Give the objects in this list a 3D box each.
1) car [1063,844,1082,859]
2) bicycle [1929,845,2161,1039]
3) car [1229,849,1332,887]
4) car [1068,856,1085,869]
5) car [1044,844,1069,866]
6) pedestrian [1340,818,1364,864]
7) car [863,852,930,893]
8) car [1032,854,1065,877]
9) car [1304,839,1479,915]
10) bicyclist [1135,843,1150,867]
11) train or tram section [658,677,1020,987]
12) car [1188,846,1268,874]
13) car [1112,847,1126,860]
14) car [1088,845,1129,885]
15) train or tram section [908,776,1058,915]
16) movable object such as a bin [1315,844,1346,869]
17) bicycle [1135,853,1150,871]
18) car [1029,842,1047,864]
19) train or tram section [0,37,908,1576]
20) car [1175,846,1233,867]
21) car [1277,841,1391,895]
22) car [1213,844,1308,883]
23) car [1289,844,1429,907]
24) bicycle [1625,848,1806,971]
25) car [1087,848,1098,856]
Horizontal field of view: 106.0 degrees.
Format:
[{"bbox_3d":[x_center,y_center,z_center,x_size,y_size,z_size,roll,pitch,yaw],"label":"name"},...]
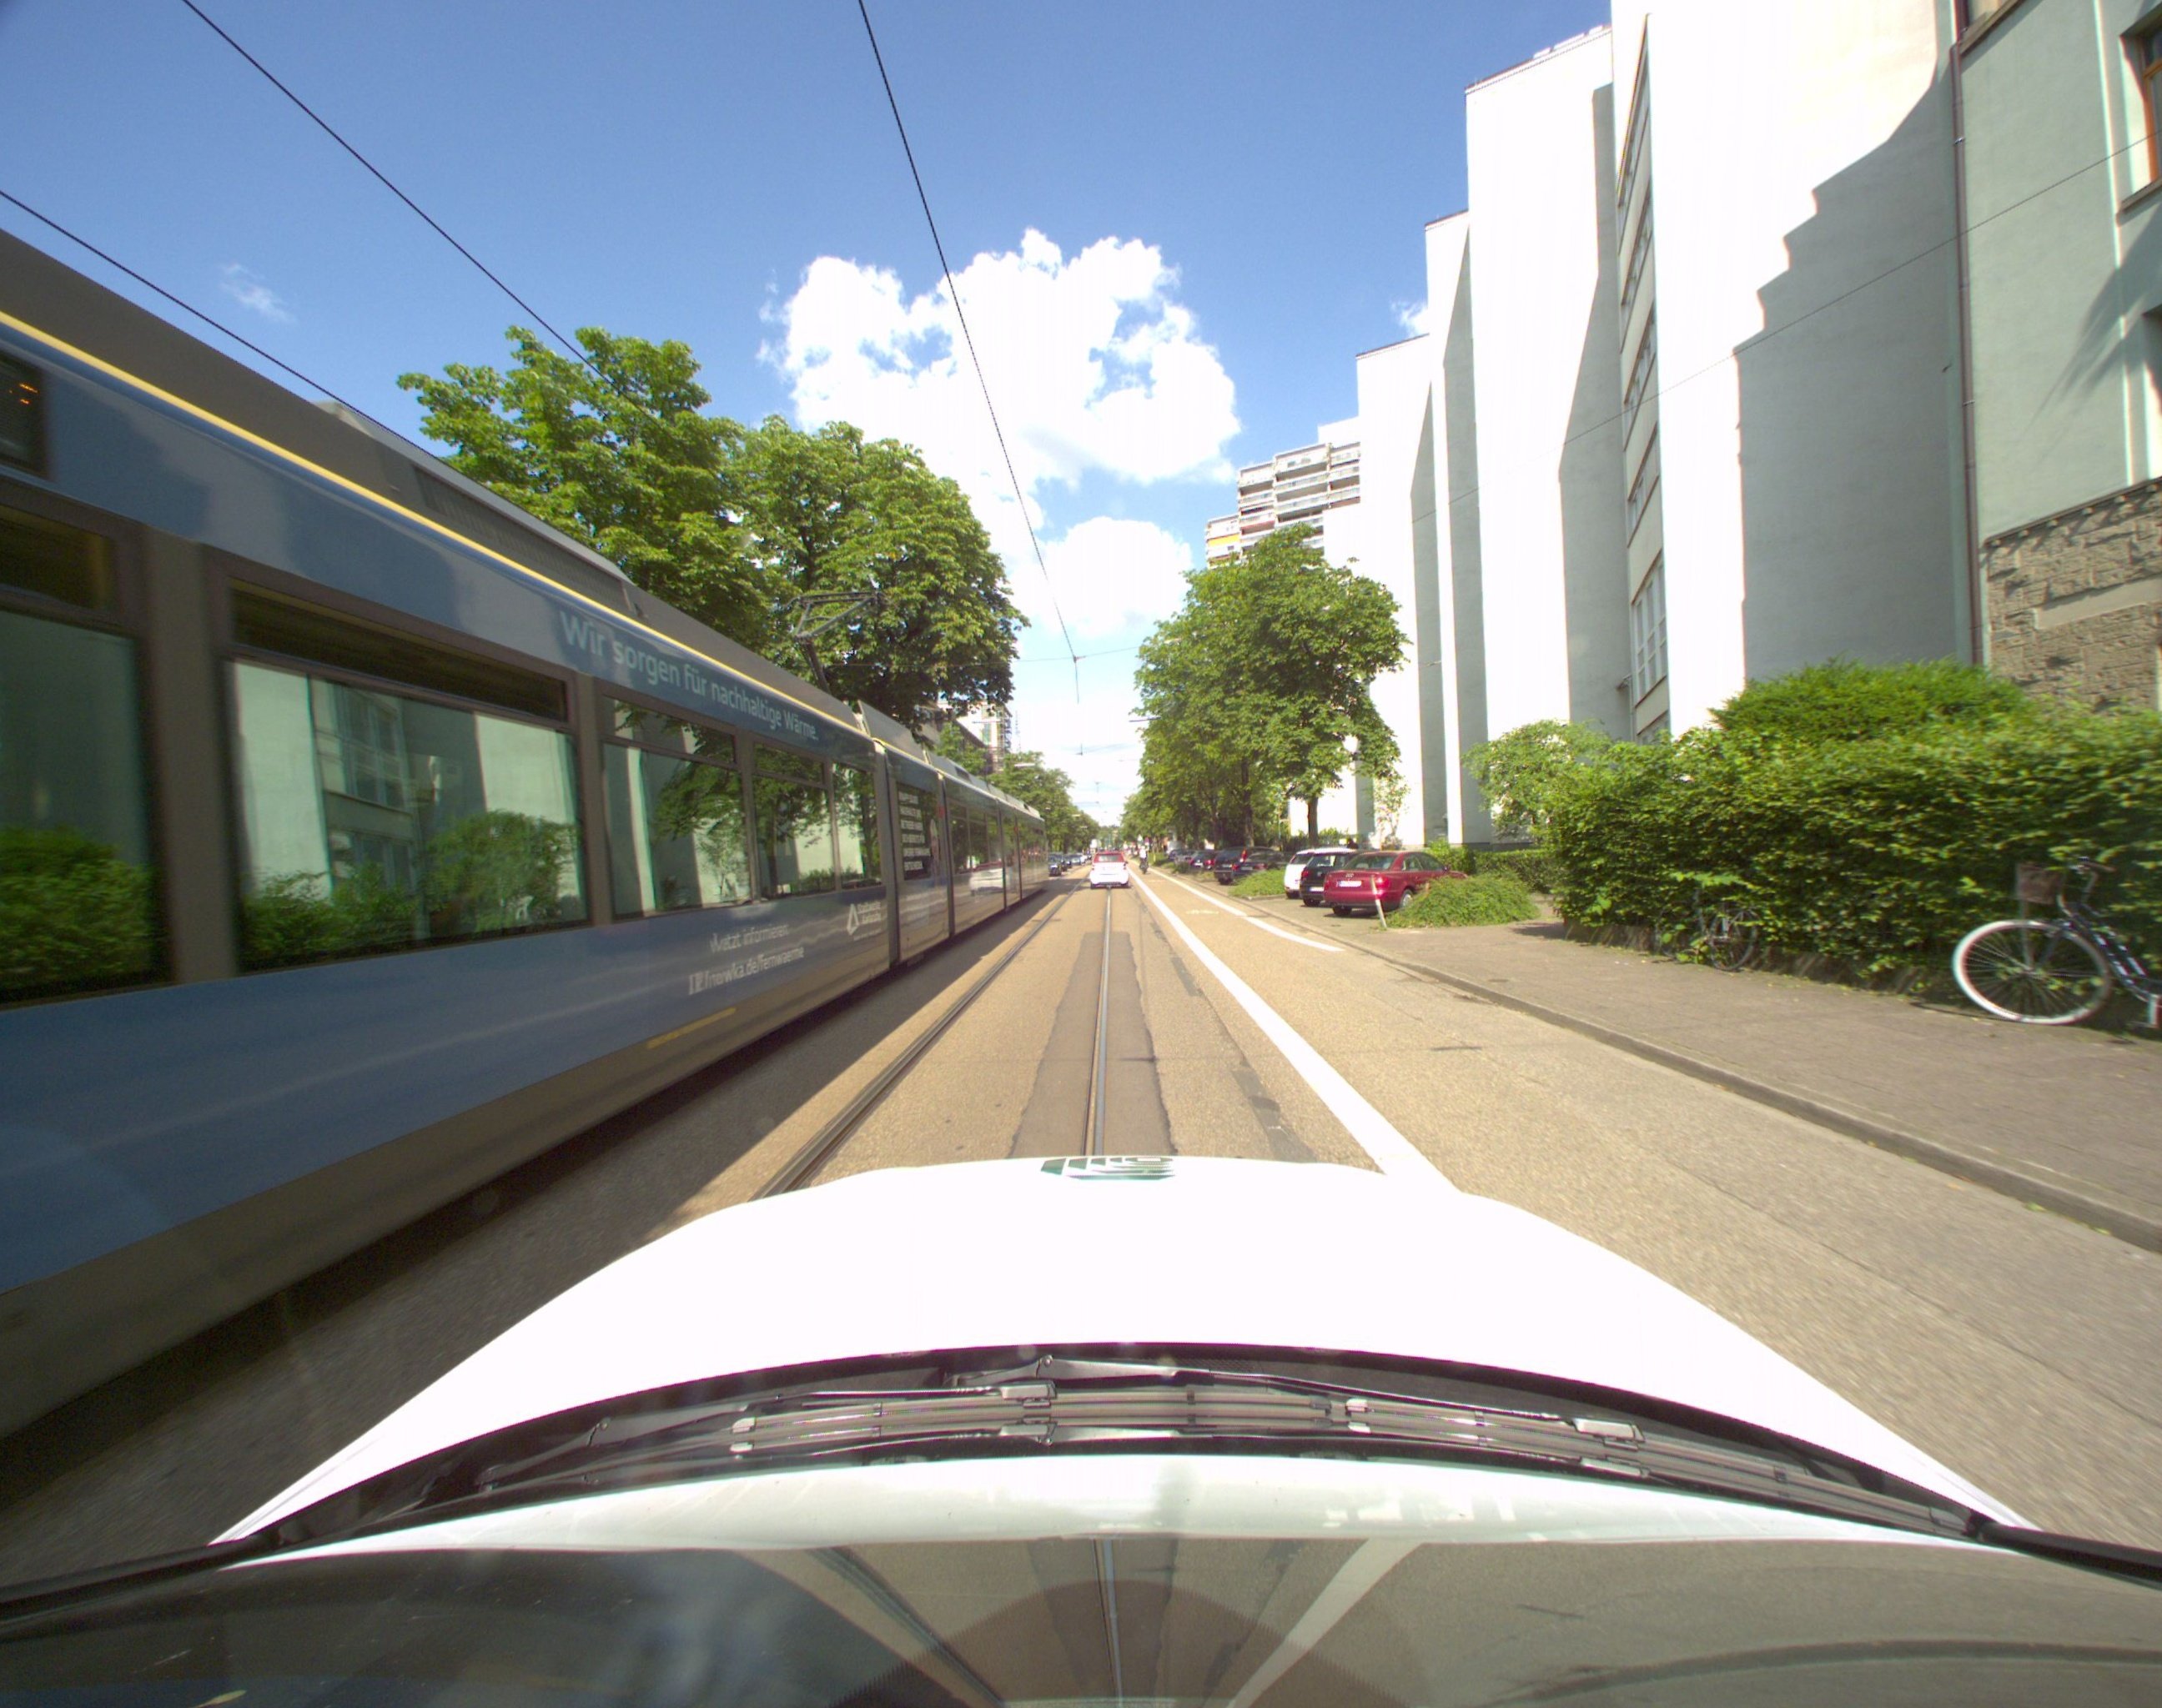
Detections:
[{"bbox_3d":[-0.870,-0.196,81.704,1.717,1.376,4.001,-3,0,1],"label":"car"},{"bbox_3d":[6.387,0.510,4.975,0.278,1.109,2.012,-5,0,2],"label":"bicycle"},{"bbox_3d":[7.776,0.487,31.517,4.199,1.349,1.882,-1,0,-43],"label":"car"},{"bbox_3d":[-0.557,1.015,97.495,1.767,1.416,3.853,-4,0,1],"label":"car"},{"bbox_3d":[-2.000,0.104,67.253,1.819,1.727,4.392,0,0,1],"label":"car"},{"bbox_3d":[11.432,-0.552,34.392,0.756,1.873,1.004,-2,0,8],"label":"pedestrian"},{"bbox_3d":[-7.950,0.764,35.461,1.744,1.665,4.722,0,0,1],"label":"car"},{"bbox_3d":[-2.131,0.725,54.351,1.792,1.388,4.428,-2,0,2],"label":"car"},{"bbox_3d":[7.028,0.460,18.246,4.182,1.423,1.844,-3,0,-41],"label":"car"},{"bbox_3d":[4.024,0.049,52.859,0.885,1.528,1.087,0,0,8],"label":"bicyclist"},{"bbox_3d":[-3.213,-0.248,15.093,2.642,3.388,11.479,-4,0,2],"label":"train or tram section"},{"bbox_3d":[8.063,0.328,44.402,4.562,1.442,2.007,0,0,-44],"label":"car"},{"bbox_3d":[4.819,-0.087,102.443,1.659,1.624,3.622,-2,0,2],"label":"car"},{"bbox_3d":[1.171,0.418,34.843,1.659,1.624,3.623,0,1,2],"label":"car"},{"bbox_3d":[-2.700,-0.220,27.785,2.642,3.356,14.116,-4,0,2],"label":"train or tram section"},{"bbox_3d":[13.519,0.140,44.123,1.270,1.318,1.326,-1,0,2],"label":"movable object such as a bin"},{"bbox_3d":[3.987,0.503,52.647,0.870,1.126,2.141,0,0,8],"label":"bicycle"},{"bbox_3d":[-5.179,-0.131,98.299,1.762,2.639,5.325,0,0,2],"label":"car"},{"bbox_3d":[-3.663,-0.094,3.213,2.642,3.436,12.322,-4,0,2],"label":"train or tram section"},{"bbox_3d":[9.223,0.189,60.941,4.262,1.420,1.705,-2,1,-36],"label":"car"},{"bbox_3d":[7.770,0.382,24.797,4.023,1.461,1.517,-2,0,-44],"label":"car"},{"bbox_3d":[7.636,0.366,34.460,4.021,1.574,1.883,-1,0,-40],"label":"car"},{"bbox_3d":[7.371,0.514,21.414,4.021,1.448,1.679,-2,0,-41],"label":"car"},{"bbox_3d":[6.505,0.512,8.494,0.278,1.109,2.012,-5,0,2],"label":"bicycle"},{"bbox_3d":[2.169,-0.376,154.887,1.792,1.508,4.541,-1,0,4],"label":"car"}]
